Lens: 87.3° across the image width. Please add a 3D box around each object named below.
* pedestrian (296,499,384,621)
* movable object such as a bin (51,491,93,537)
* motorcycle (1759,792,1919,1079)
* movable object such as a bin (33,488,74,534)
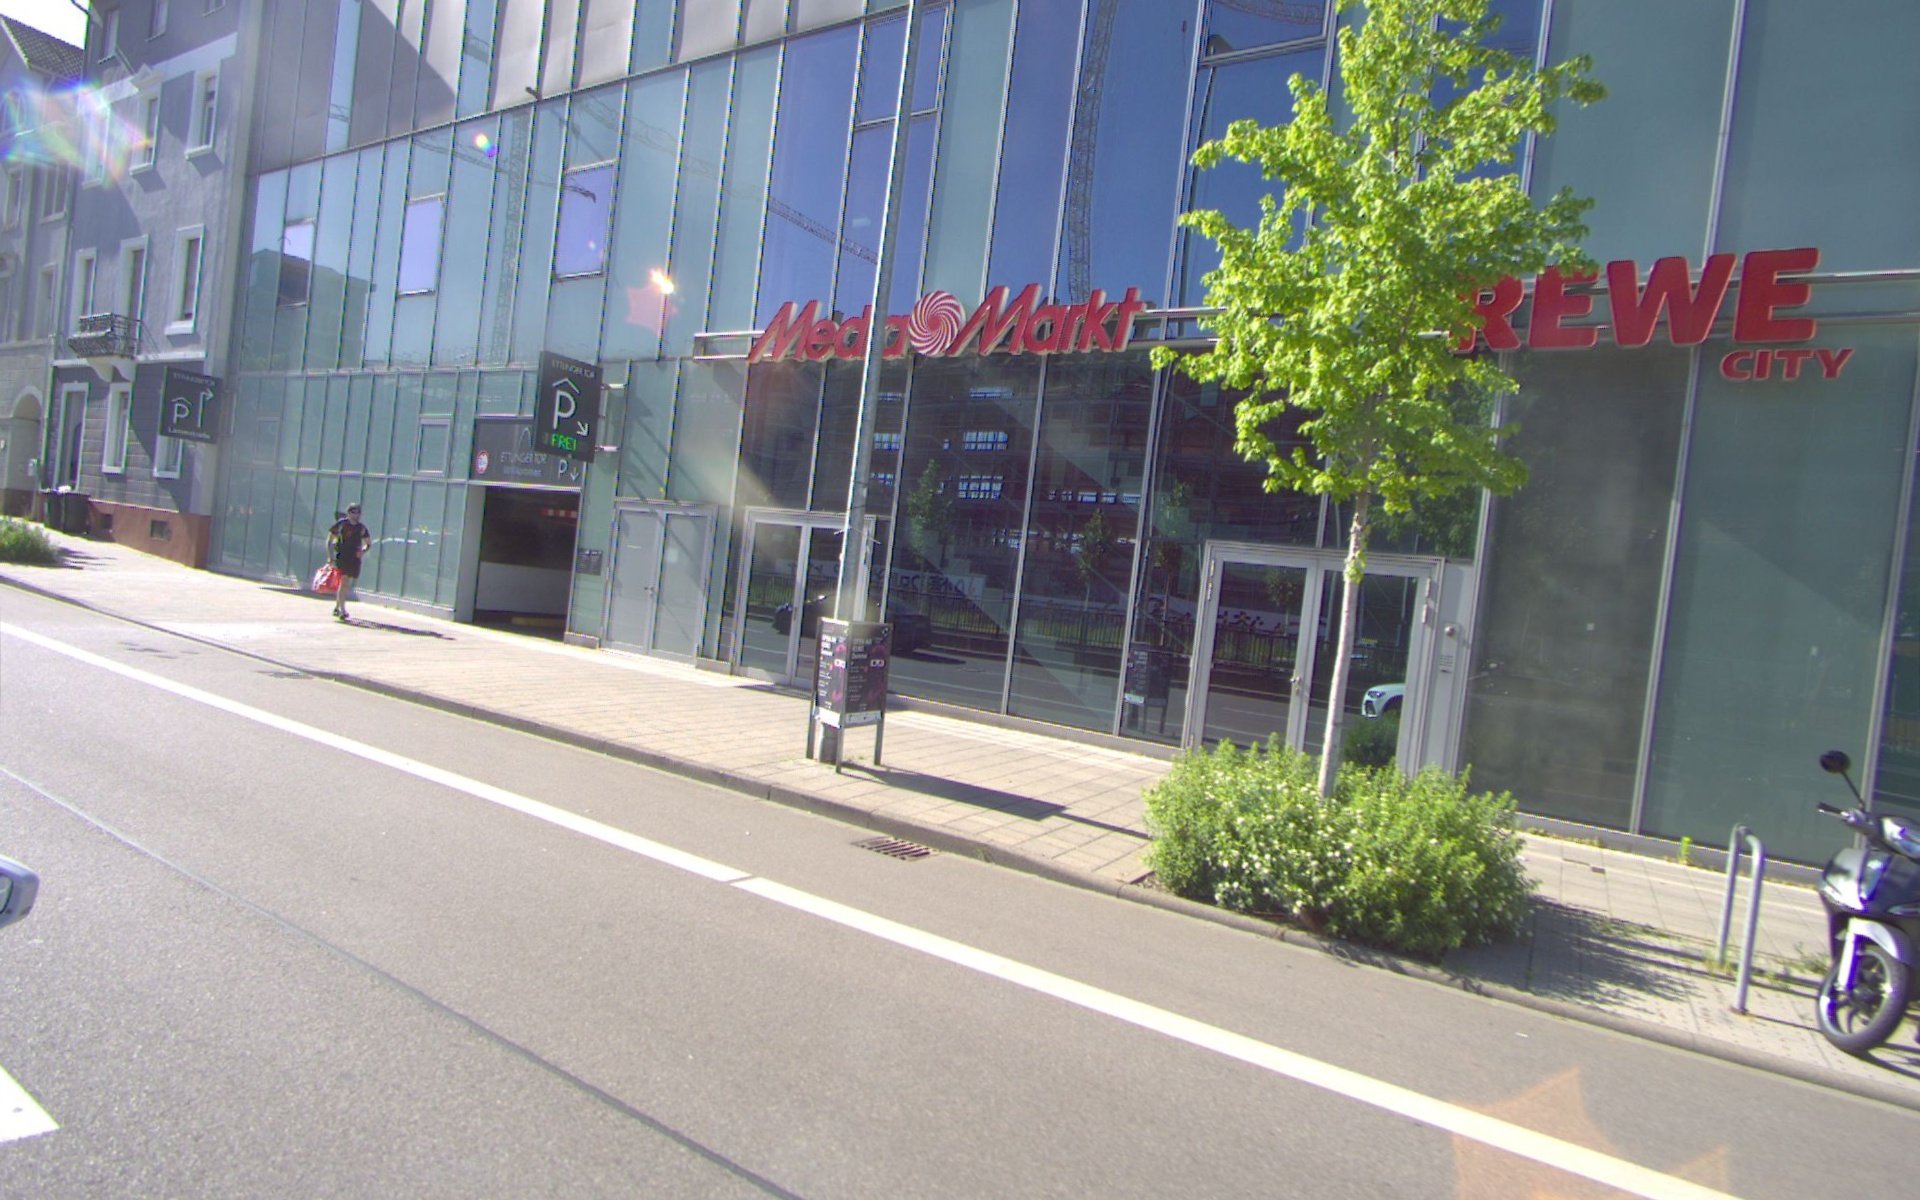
[{"bbox_3d":[-10.435,-0.661,16.935,0.880,1.951,0.875,8,4,31],"label":"pedestrian"},{"bbox_3d":[-23.678,-2.287,26.823,0.692,1.095,0.603,8,1,33],"label":"movable object such as a bin"},{"bbox_3d":[4.942,1.643,5.230,1.862,1.096,0.638,5,1,-35],"label":"motorcycle"},{"bbox_3d":[-24.434,-2.403,27.115,0.692,1.122,0.589,8,1,33],"label":"movable object such as a bin"}]
